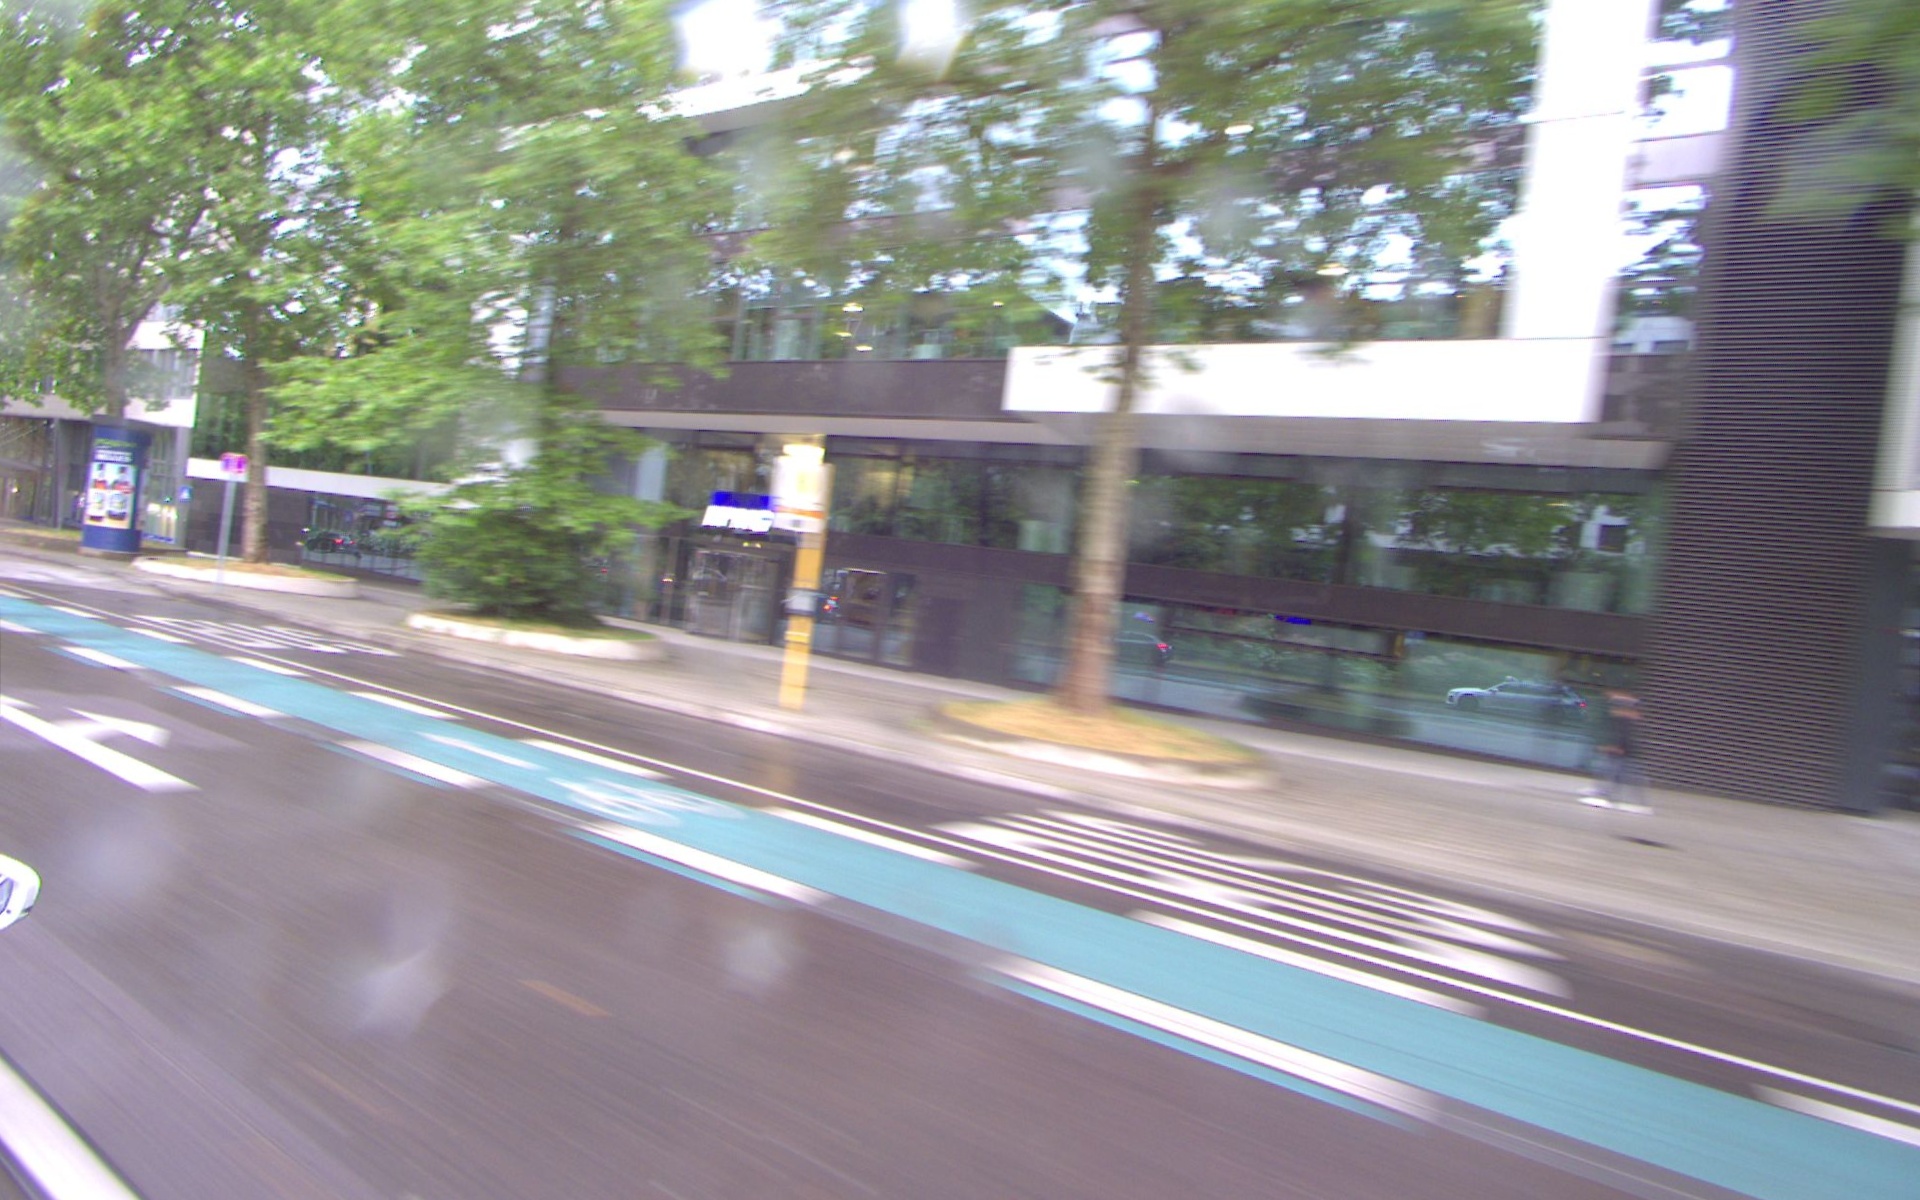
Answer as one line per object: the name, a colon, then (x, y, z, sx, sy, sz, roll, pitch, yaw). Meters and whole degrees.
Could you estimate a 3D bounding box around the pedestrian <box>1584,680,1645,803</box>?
pedestrian: (10.557, 2.267, 16.254, 0.597, 1.877, 0.563, 7, -1, 29)

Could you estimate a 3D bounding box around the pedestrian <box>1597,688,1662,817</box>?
pedestrian: (10.109, 2.284, 15.214, 0.597, 1.815, 0.563, 7, -1, 29)
